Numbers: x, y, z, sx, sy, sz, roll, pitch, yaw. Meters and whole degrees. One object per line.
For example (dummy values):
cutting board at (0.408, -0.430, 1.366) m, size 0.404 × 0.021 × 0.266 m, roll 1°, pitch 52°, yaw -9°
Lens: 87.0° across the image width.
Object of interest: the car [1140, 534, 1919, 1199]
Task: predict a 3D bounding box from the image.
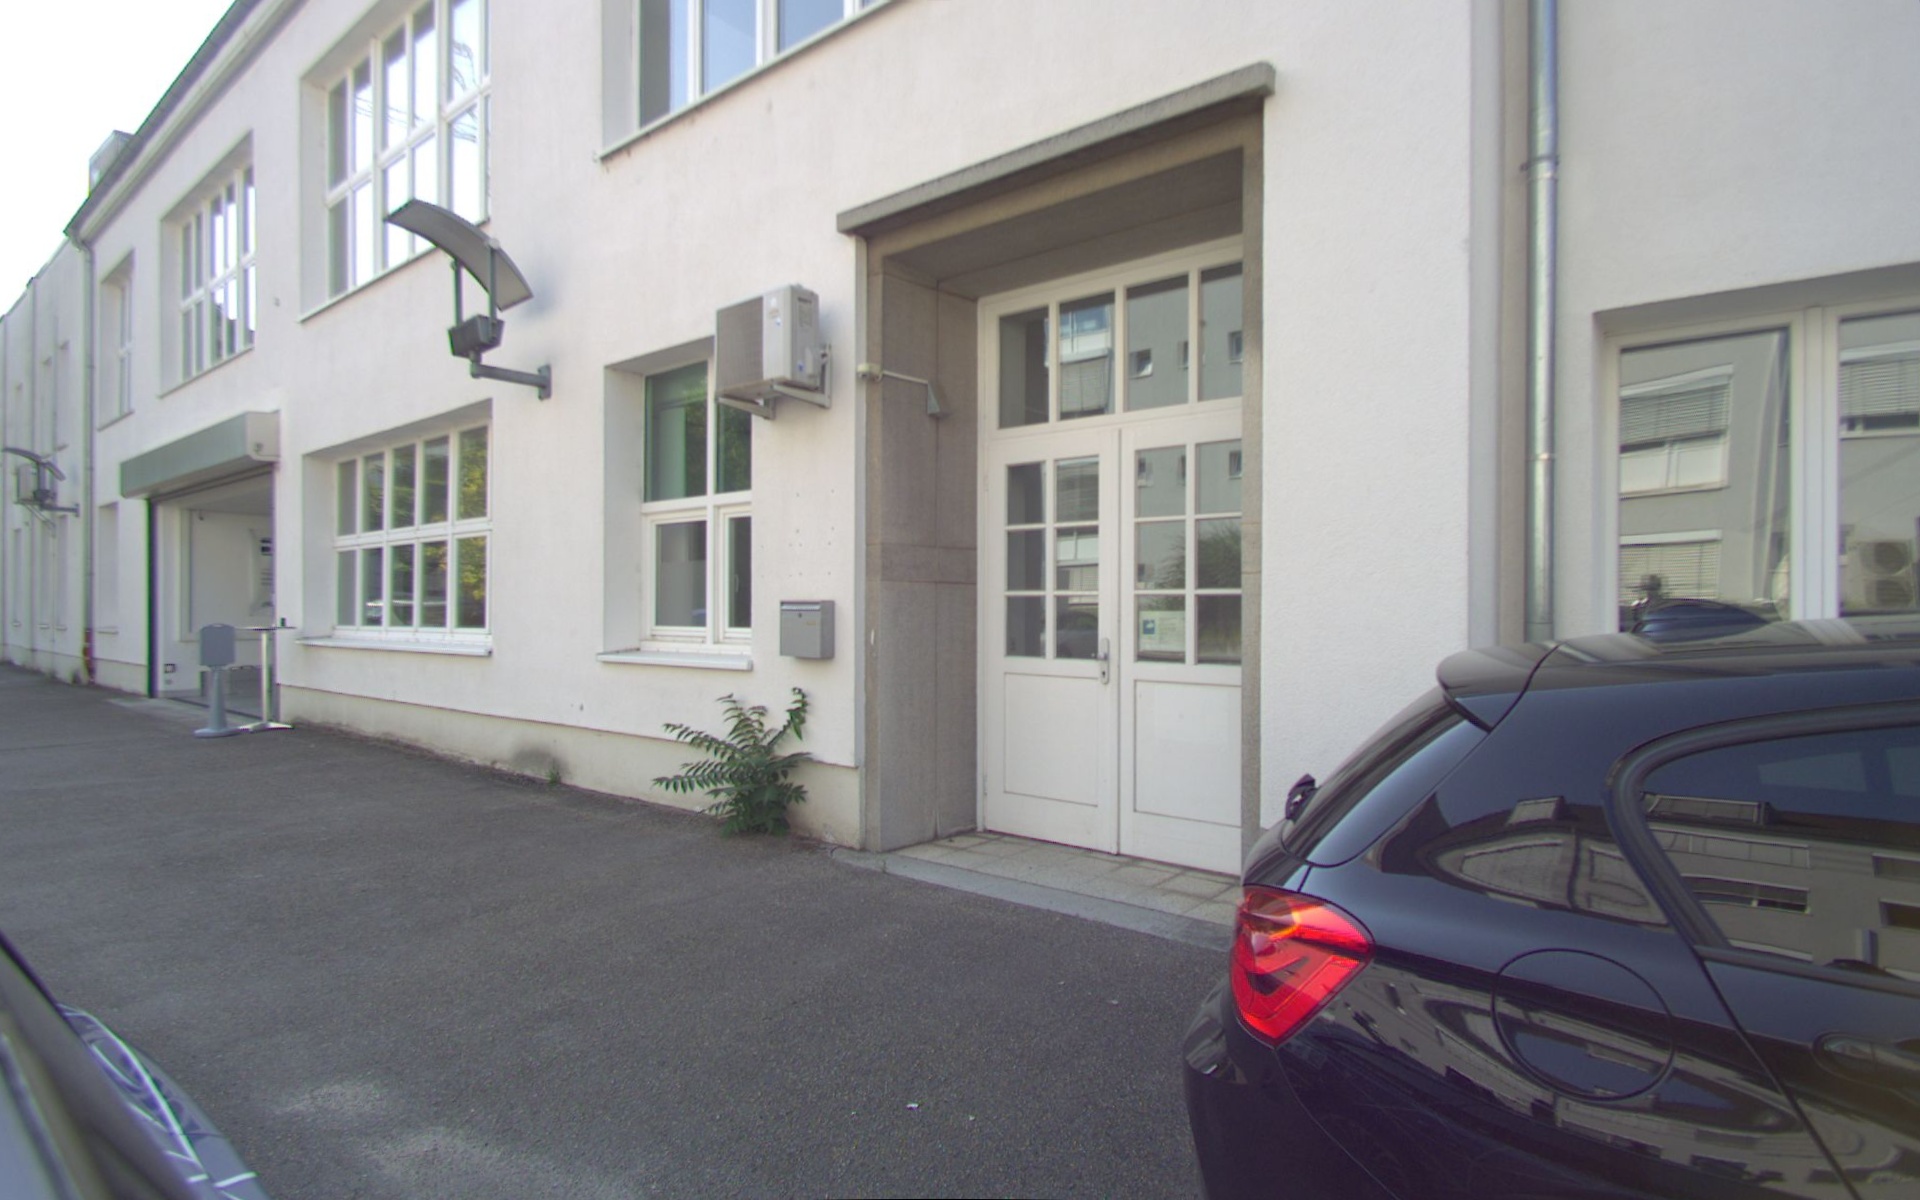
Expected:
car at (2.440, 0.637, 0.953) m, size 4.130 × 1.439 × 1.776 m, roll -1°, pitch 0°, yaw 38°
